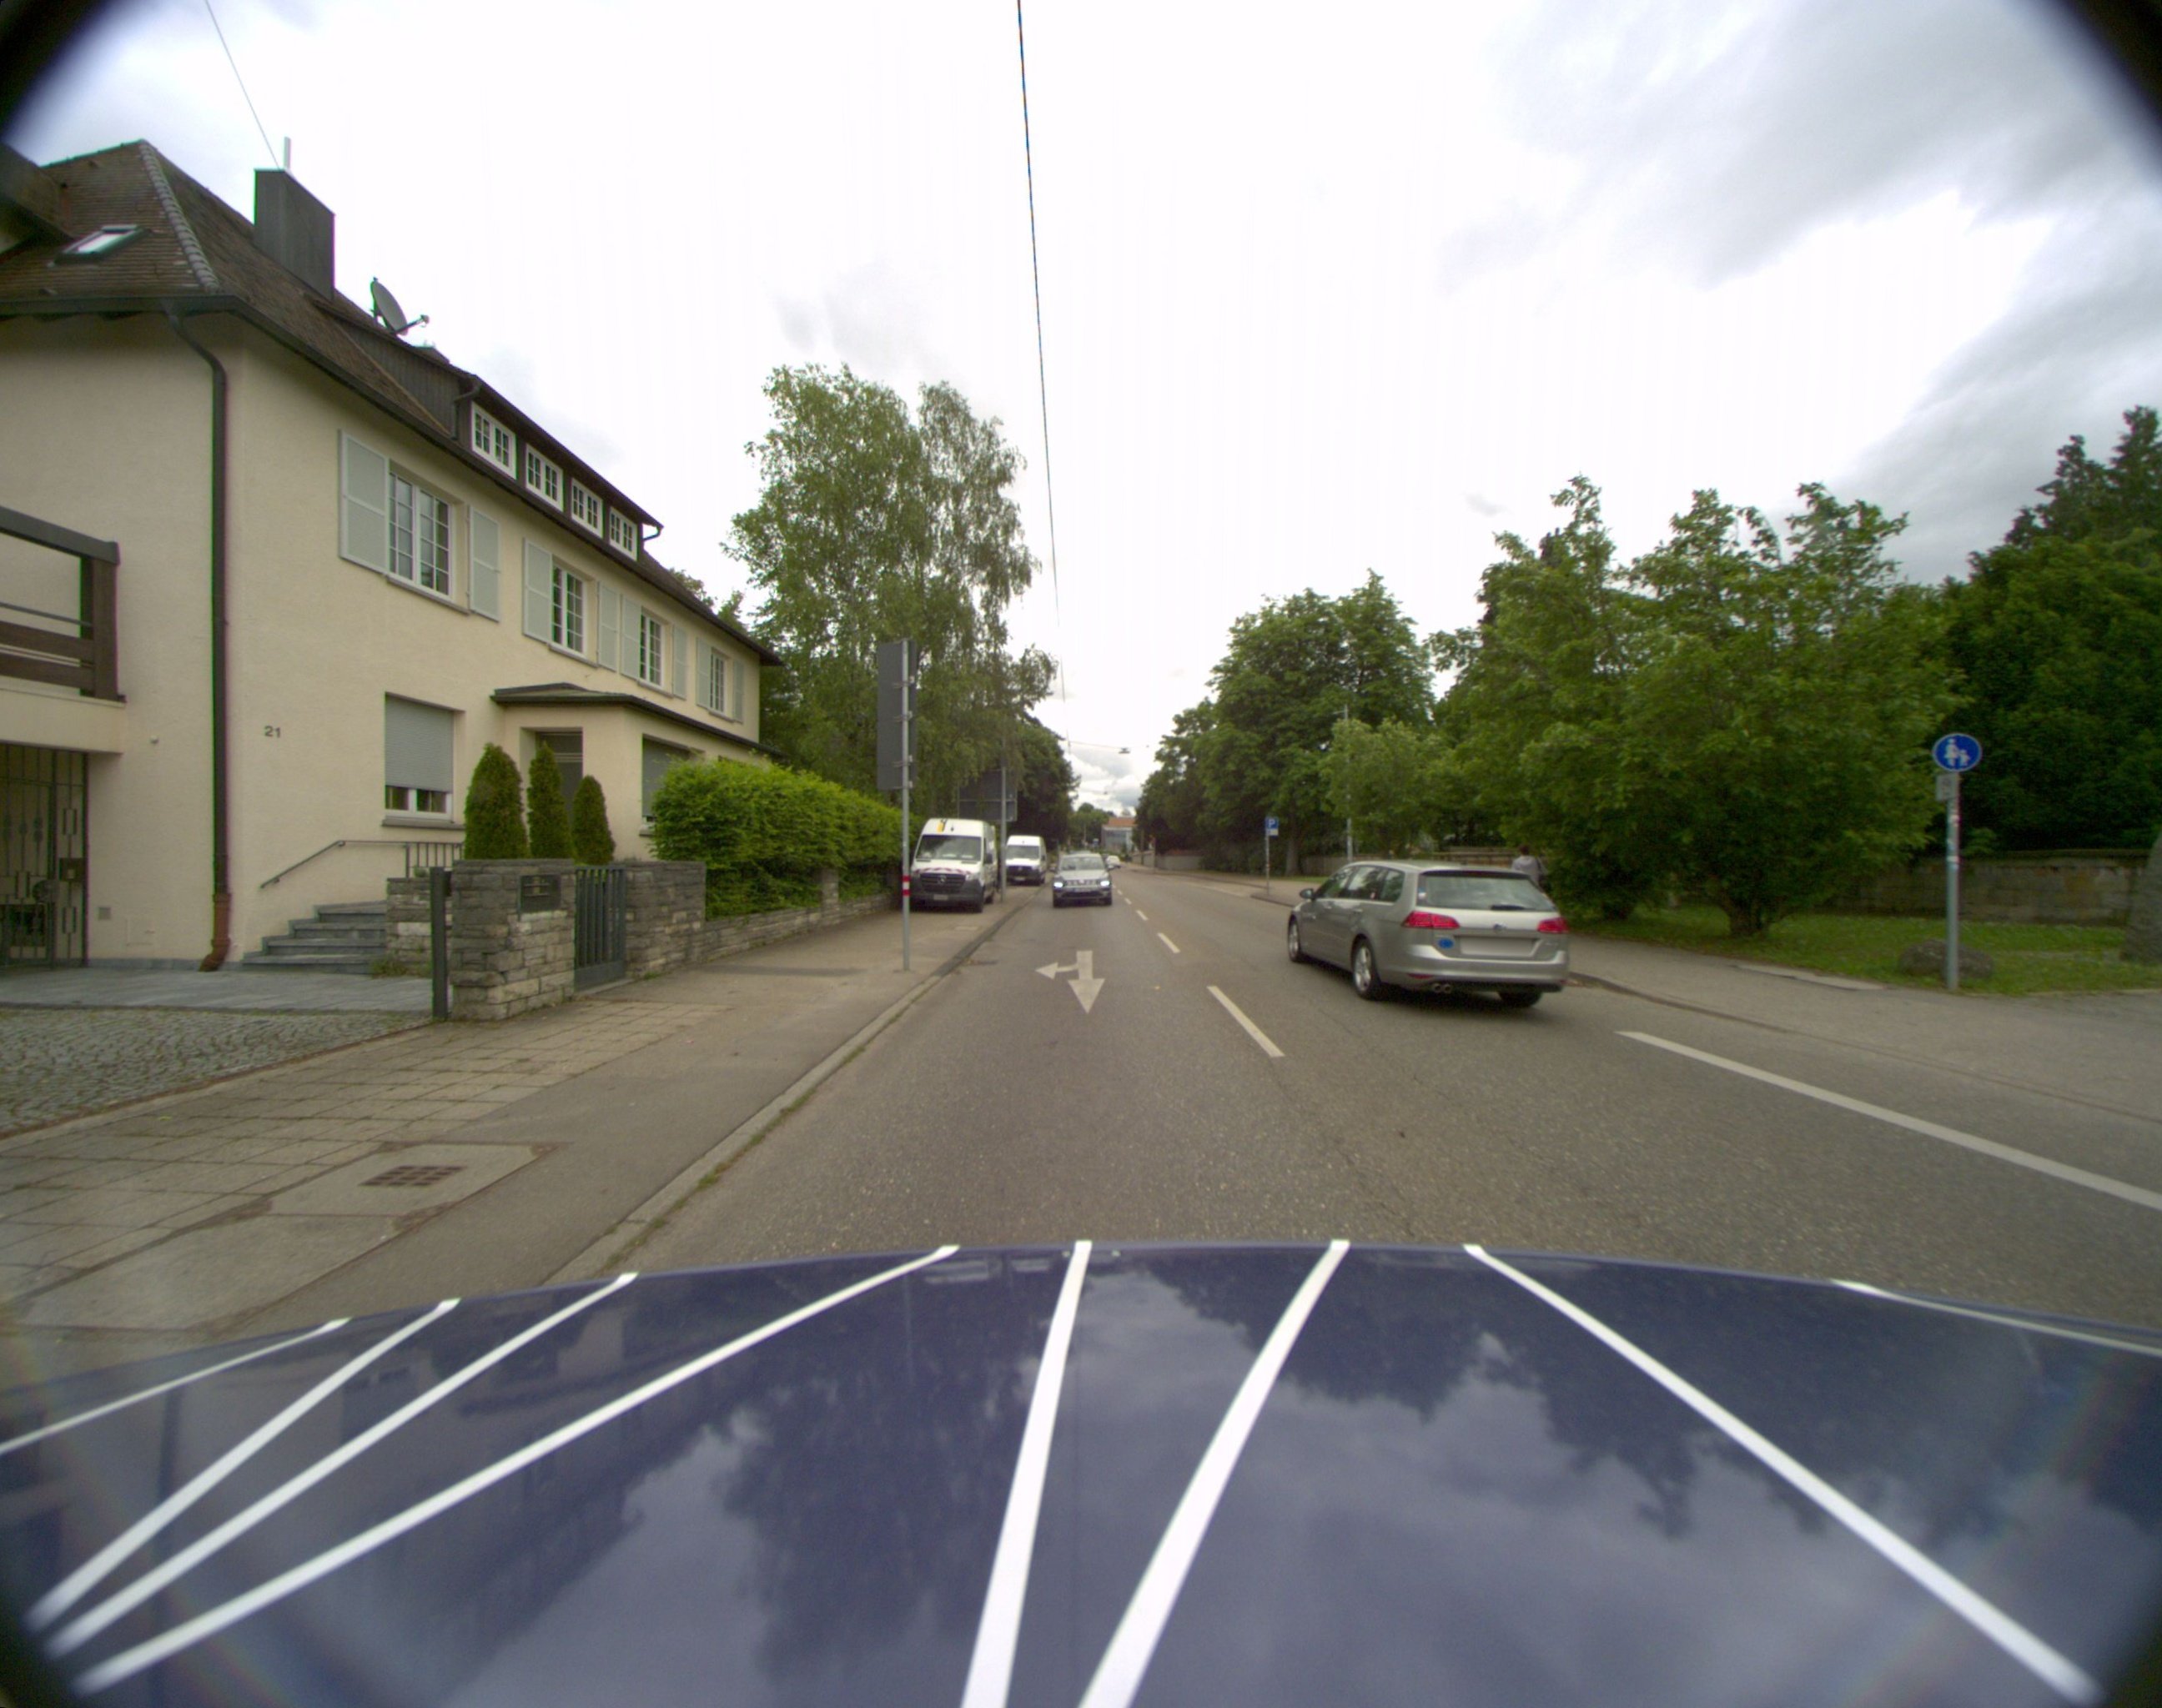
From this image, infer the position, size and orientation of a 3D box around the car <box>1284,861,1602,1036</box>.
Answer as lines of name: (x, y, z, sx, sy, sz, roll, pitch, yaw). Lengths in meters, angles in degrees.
car: (3.681, 0.840, 8.655, 1.729, 1.454, 4.154, 0, 0, 2)

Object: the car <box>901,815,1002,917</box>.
car: (-3.647, 0.281, 22.741, 2.095, 2.589, 6.679, 0, 1, -2)

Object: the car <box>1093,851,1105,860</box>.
car: (3.274, 0.248, 139.283, 1.913, 1.484, 3.998, 2, 1, -2)

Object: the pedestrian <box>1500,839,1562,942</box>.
pedestrian: (8.134, 0.643, 13.757, 0.615, 1.801, 0.785, -2, 1, 0)

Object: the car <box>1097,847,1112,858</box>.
car: (3.644, -0.240, 117.515, 1.913, 1.484, 3.998, 2, 1, -2)

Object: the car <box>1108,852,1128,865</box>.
car: (4.406, 0.493, 90.666, 1.913, 1.484, 3.998, 2, 1, -2)

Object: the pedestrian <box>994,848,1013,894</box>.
pedestrian: (-3.149, 0.679, 30.799, 0.640, 1.820, 0.786, 3, 1, -2)

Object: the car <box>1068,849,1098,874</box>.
car: (0.087, 0.464, 53.730, 1.835, 1.610, 4.486, -2, 1, -3)

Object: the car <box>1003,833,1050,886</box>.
car: (-2.830, 0.246, 40.537, 2.046, 2.588, 5.966, 0, 1, 0)

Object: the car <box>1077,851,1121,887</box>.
car: (0.853, 0.716, 39.045, 1.835, 1.610, 4.486, -2, 1, -3)

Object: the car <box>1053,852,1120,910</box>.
car: (0.081, 0.777, 24.627, 1.835, 1.610, 4.486, -2, 1, -3)
